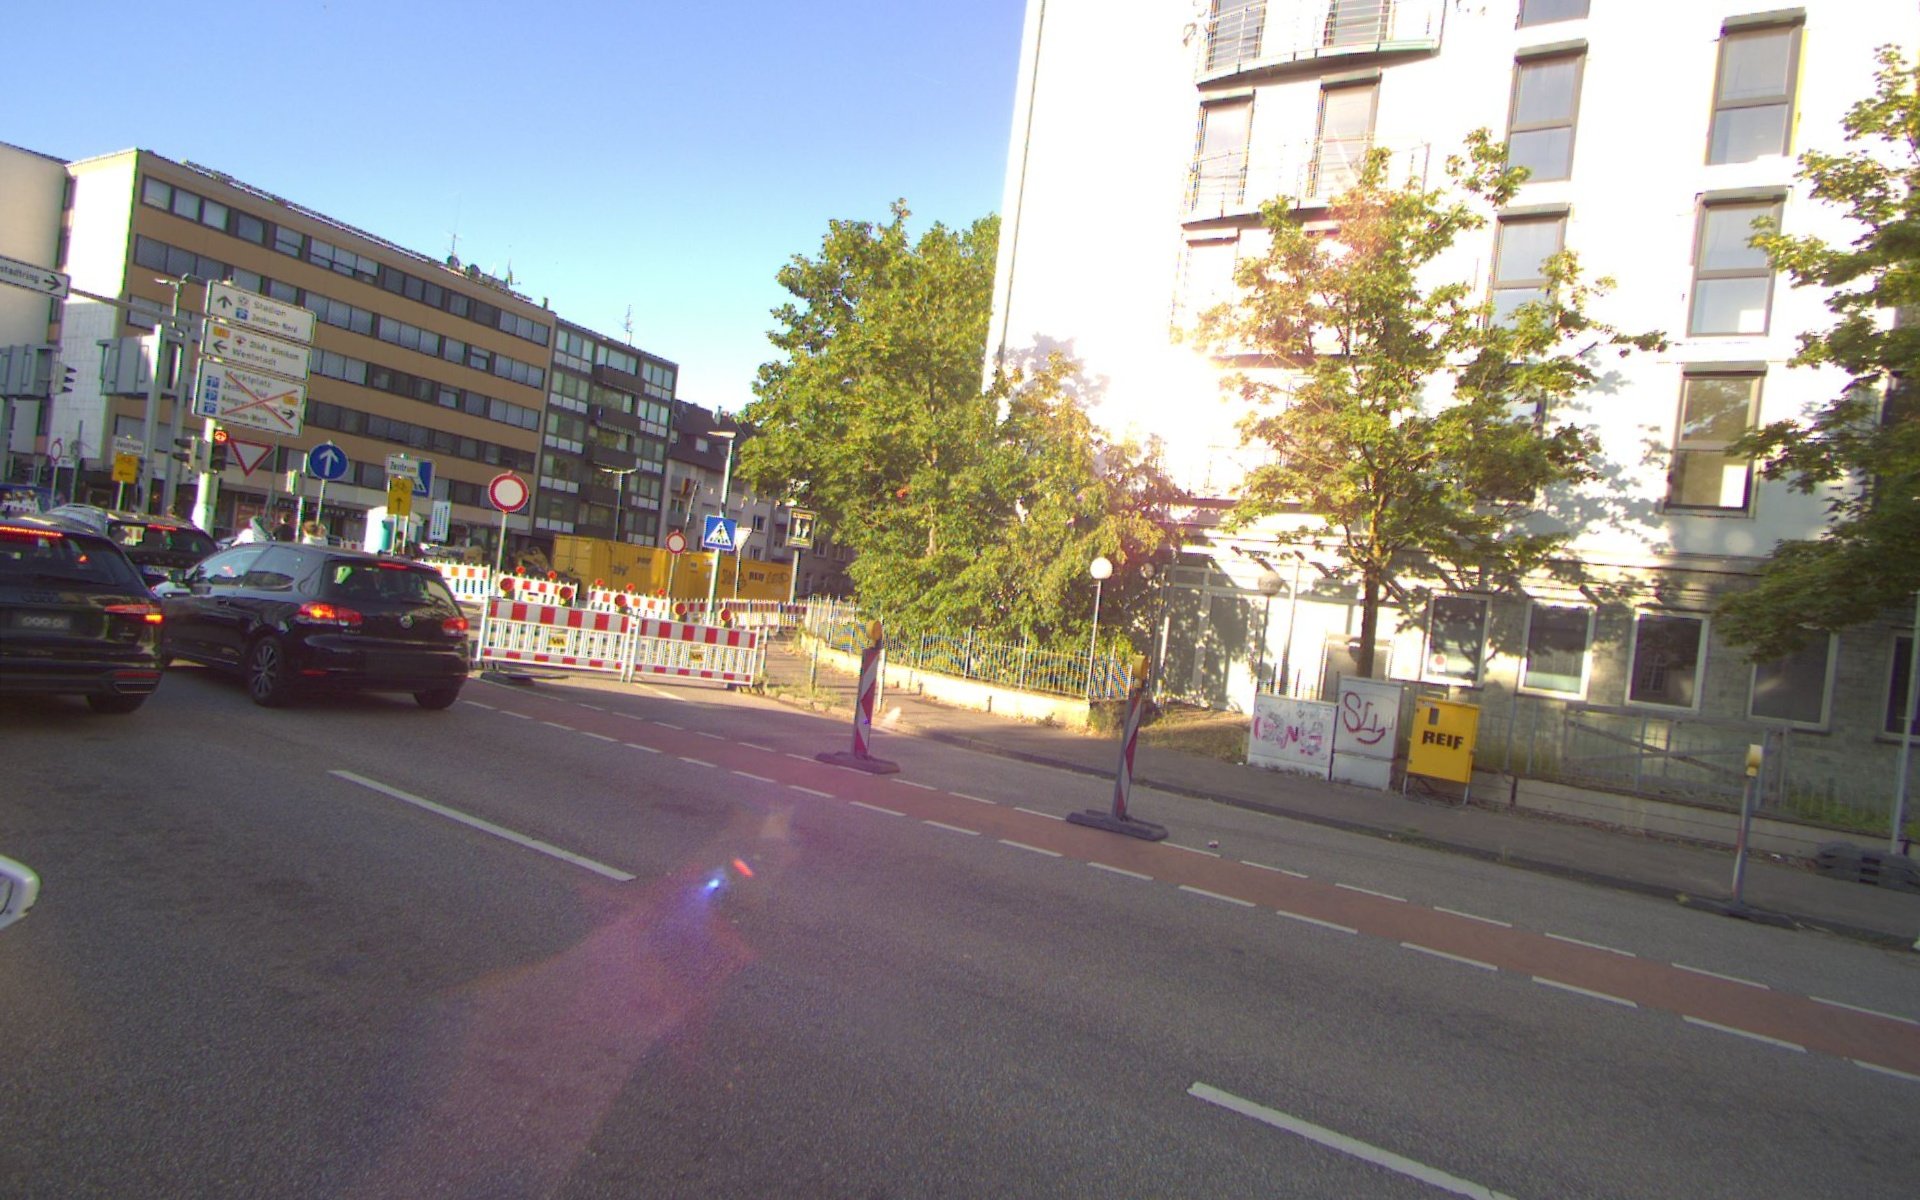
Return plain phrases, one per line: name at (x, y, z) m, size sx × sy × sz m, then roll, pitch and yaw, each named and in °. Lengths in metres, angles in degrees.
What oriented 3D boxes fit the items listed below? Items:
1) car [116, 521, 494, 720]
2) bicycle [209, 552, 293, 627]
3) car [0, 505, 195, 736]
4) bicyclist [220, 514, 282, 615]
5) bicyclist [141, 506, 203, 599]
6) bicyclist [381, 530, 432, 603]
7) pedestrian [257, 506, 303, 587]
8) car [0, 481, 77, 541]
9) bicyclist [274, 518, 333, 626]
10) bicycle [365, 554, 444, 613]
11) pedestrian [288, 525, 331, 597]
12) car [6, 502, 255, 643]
car at (-6.616, 0.181, 10.089) m, size 3.683 × 1.466 × 1.637 m, roll 7°, pitch -2°, yaw 32°
bicycle at (-11.490, -0.184, 16.284) m, size 1.825 × 1.020 × 0.337 m, roll 7°, pitch 0°, yaw 32°
car at (-7.670, -0.054, 7.467) m, size 4.144 × 1.437 × 1.685 m, roll 7°, pitch -2°, yaw 32°
bicyclist at (-11.509, -0.578, 16.329) m, size 0.713 × 1.544 × 0.441 m, roll 7°, pitch 0°, yaw 32°
bicyclist at (-13.964, -0.834, 17.827) m, size 0.713 × 1.544 × 0.514 m, roll 7°, pitch 0°, yaw 32°
bicyclist at (-13.213, -0.788, 24.036) m, size 0.803 × 1.608 × 0.617 m, roll 8°, pitch 0°, yaw -21°
pedestrian at (-16.429, -1.276, 24.307) m, size 0.478 × 1.857 × 0.571 m, roll 7°, pitch 0°, yaw 17°
car at (-34.291, -3.321, 35.460) m, size 1.962 × 1.839 × 4.231 m, roll 7°, pitch -1°, yaw 17°
bicyclist at (-9.817, -0.413, 15.040) m, size 0.474 × 1.544 × 0.441 m, roll 7°, pitch 0°, yaw 31°
bicycle at (-13.264, -0.379, 24.044) m, size 1.480 × 1.174 × 0.372 m, roll 9°, pitch -1°, yaw -21°
pedestrian at (-16.176, -0.967, 25.007) m, size 0.446 × 1.691 × 0.604 m, roll 7°, pitch 0°, yaw 18°
car at (-11.107, -0.382, 13.437) m, size 3.250 × 1.467 × 1.507 m, roll 7°, pitch 0°, yaw 32°
